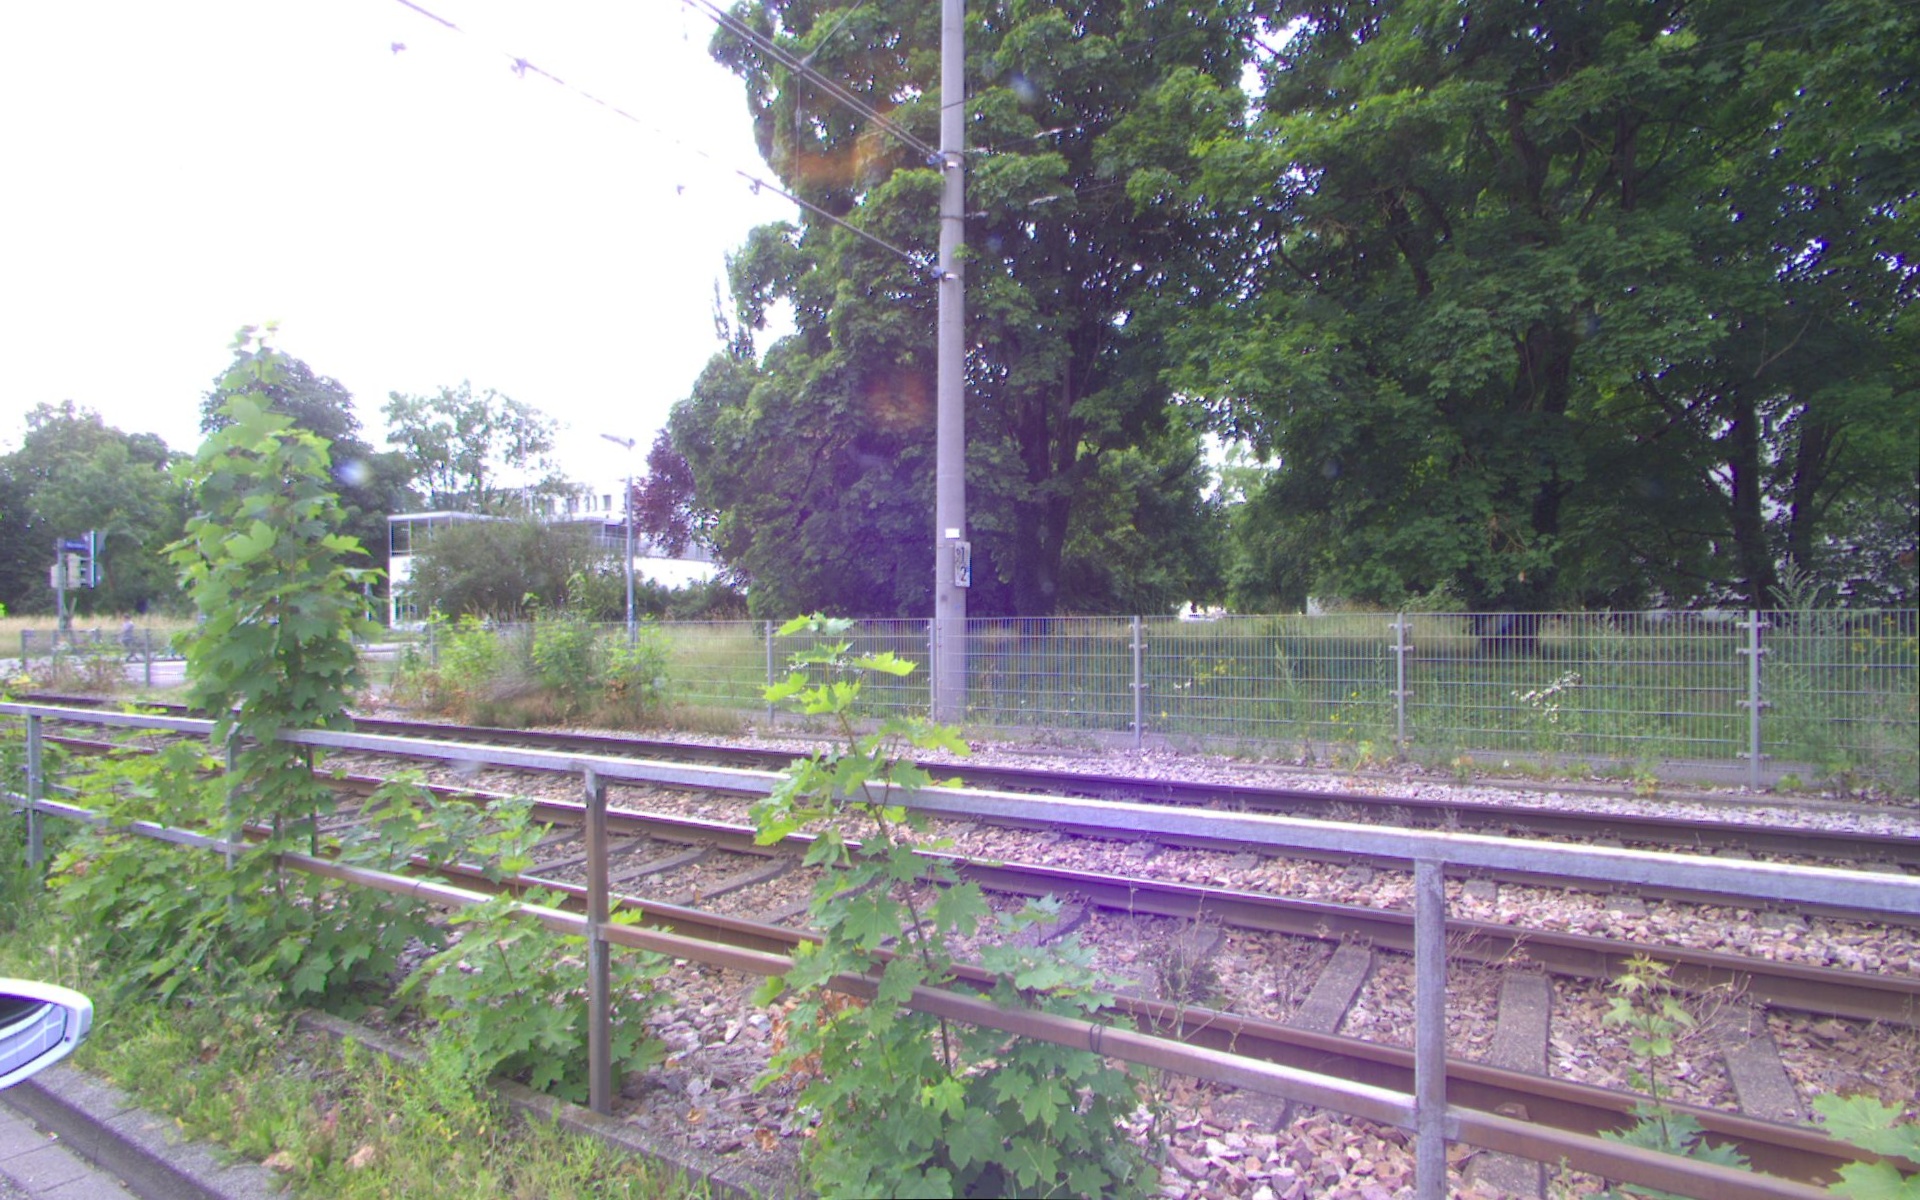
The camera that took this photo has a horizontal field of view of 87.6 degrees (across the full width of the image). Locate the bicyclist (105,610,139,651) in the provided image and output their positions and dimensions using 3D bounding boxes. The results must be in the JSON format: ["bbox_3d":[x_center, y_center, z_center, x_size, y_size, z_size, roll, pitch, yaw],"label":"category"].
[{"bbox_3d":[-30.494,1.097,36.447,0.449,1.495,0.837,-1,0,34],"label":"bicyclist"}]

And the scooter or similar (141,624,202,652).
[{"bbox_3d":[-29.650,1.409,37.679,0.949,0.992,1.570,-1,0,34],"label":"scooter or similar"}]

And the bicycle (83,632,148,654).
[{"bbox_3d":[-30.560,1.537,36.272,0.548,0.775,1.718,-1,-2,34],"label":"bicycle"}]
